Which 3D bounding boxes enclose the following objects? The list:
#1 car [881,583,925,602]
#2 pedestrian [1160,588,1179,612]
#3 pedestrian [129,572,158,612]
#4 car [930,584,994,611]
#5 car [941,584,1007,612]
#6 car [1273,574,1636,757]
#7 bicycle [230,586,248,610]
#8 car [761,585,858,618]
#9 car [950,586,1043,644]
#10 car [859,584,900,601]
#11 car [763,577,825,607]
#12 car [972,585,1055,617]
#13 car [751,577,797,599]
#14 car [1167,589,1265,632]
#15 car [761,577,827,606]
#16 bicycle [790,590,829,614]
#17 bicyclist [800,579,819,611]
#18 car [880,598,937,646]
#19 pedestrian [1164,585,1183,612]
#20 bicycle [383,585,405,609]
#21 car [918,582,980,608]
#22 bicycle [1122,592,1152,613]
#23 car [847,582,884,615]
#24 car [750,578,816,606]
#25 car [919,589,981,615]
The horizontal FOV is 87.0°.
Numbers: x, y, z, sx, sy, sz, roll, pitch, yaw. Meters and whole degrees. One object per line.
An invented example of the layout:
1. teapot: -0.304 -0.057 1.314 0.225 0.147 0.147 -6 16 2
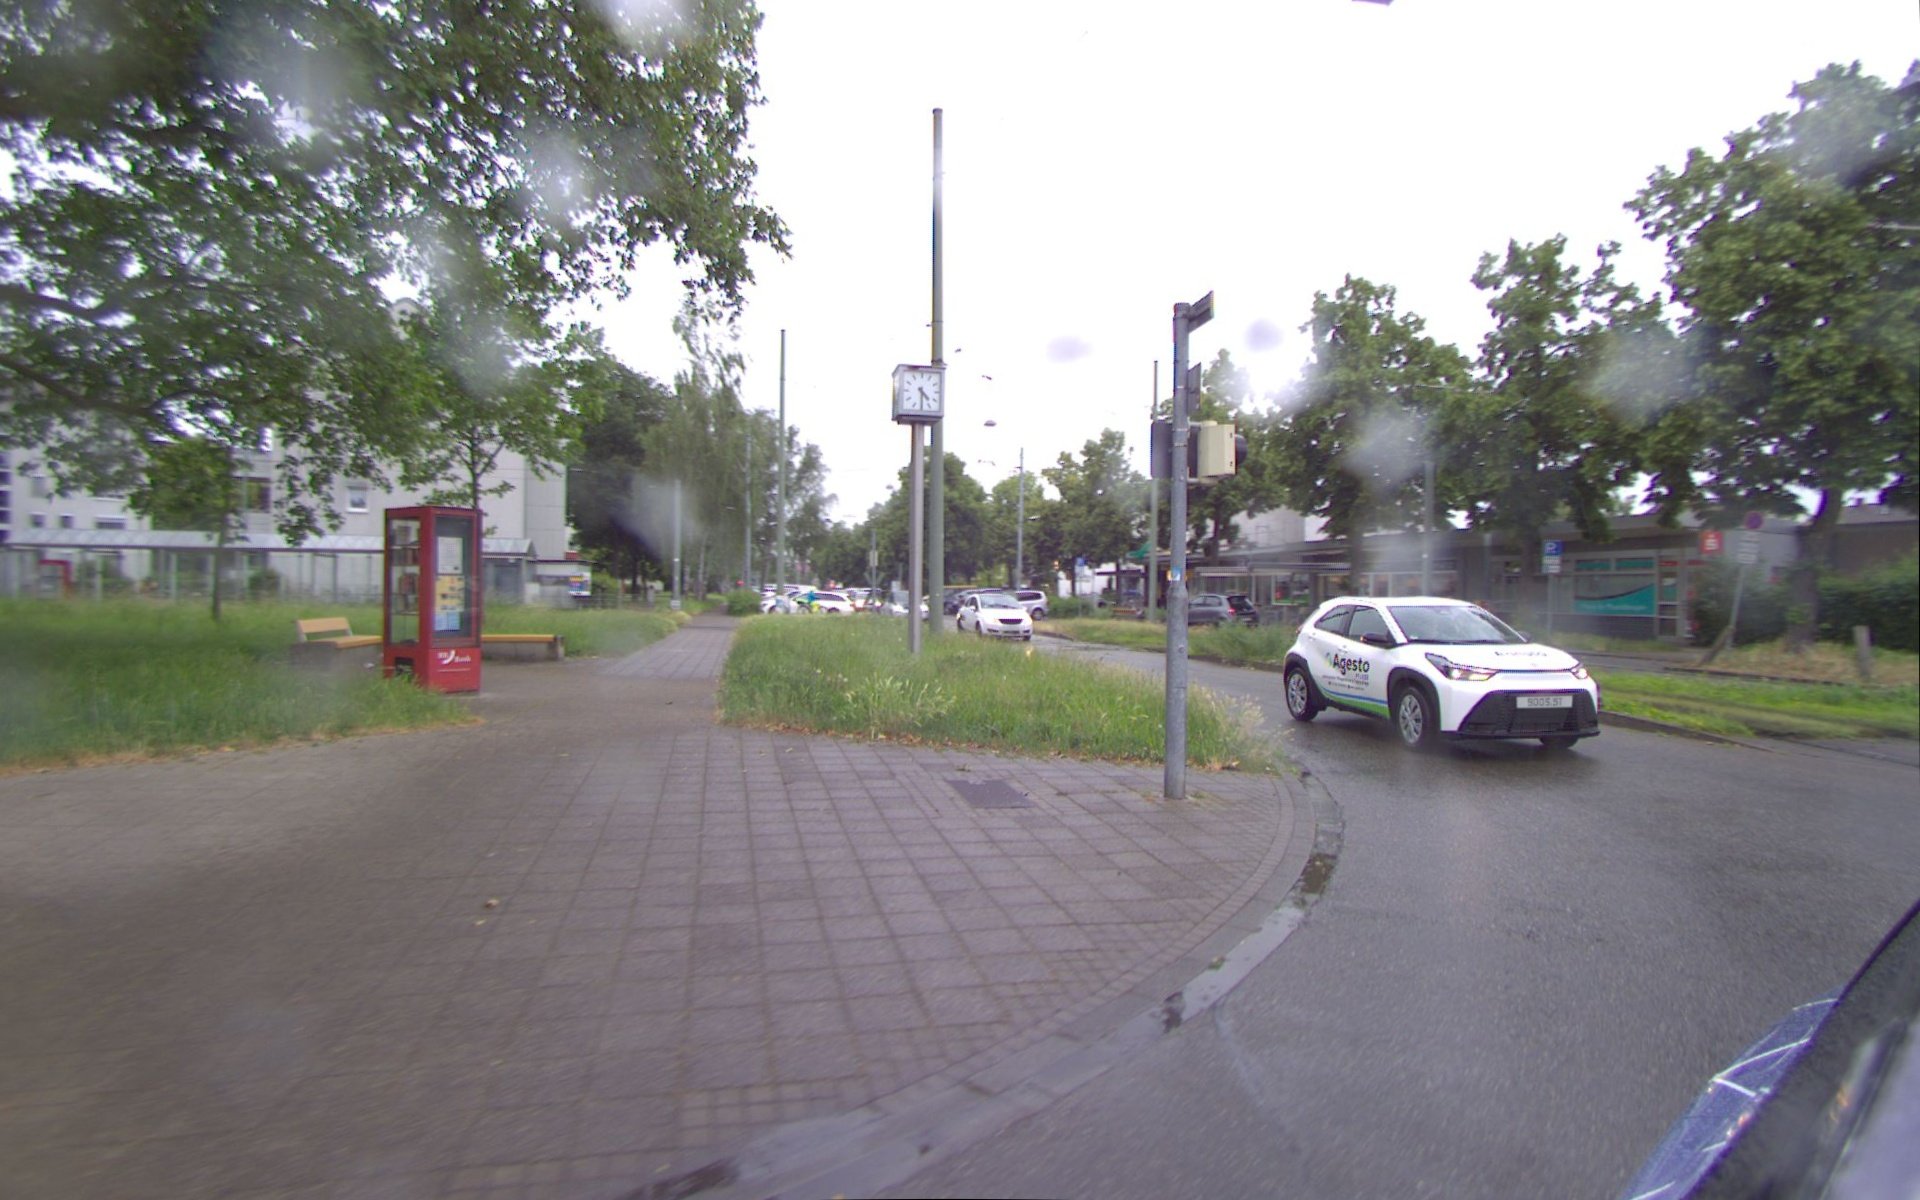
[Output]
1. car: -6.116 -0.786 108.204 4.454 1.967 1.902 -1 0 -13
2. pedestrian: 14.401 0.020 69.729 1.059 1.603 0.948 1 1 -1
3. pedestrian: -33.488 -0.342 41.507 0.623 1.592 0.791 -1 1 -13
4. car: 0.132 -0.184 69.008 4.006 1.731 1.902 -1 0 -13
5. car: 0.919 -0.152 66.509 4.006 1.731 1.902 -1 0 -13
6. car: 5.098 0.626 11.062 1.685 1.644 3.719 0 -1 -9
7. bicycle: -29.726 -0.090 41.740 0.409 0.959 1.309 -2 1 -27
8. car: -7.680 0.070 51.374 4.741 1.476 2.004 2 0 -11
9. car: 1.071 0.408 31.985 1.922 1.572 4.010 0 3 -13
10. car: -9.414 -0.899 117.900 4.454 1.967 1.902 -1 0 -13
11. car: -12.302 -0.626 75.097 4.352 2.087 1.726 -2 1 -15
12. car: 2.959 0.021 56.608 4.247 1.695 2.004 -1 0 -13
13. car: -18.554 -1.223 101.074 4.352 2.087 1.726 -2 1 -15
14. car: 9.636 0.361 38.331 1.521 1.522 3.627 -2 1 -29
15. car: -11.446 -0.616 69.633 4.353 1.869 1.726 -2 1 -10
16. bicycle: -7.266 0.098 48.869 1.719 1.144 0.729 0 -1 -31
17. bicyclist: -7.268 -0.246 48.882 0.685 1.536 0.725 0 -1 -30
18. car: -2.477 0.967 47.447 1.958 2.039 4.008 -1 1 -13
19. pedestrian: 14.453 -0.109 68.457 1.059 1.735 0.948 1 1 -1
20. bicycle: -23.671 -0.120 42.318 0.370 0.968 1.240 -1 1 -9
21. car: -0.870 -0.400 77.916 4.454 1.967 1.902 -1 0 -13
22. bicycle: 9.655 0.131 55.217 0.582 1.086 1.753 1 0 -29
23. car: -6.262 -0.114 66.583 1.958 2.039 4.008 -2 1 -12
24. car: -10.871 -0.513 62.299 3.917 1.605 1.726 -2 1 -10
25. car: -0.767 0.165 74.615 4.216 1.832 1.902 -1 0 -13
